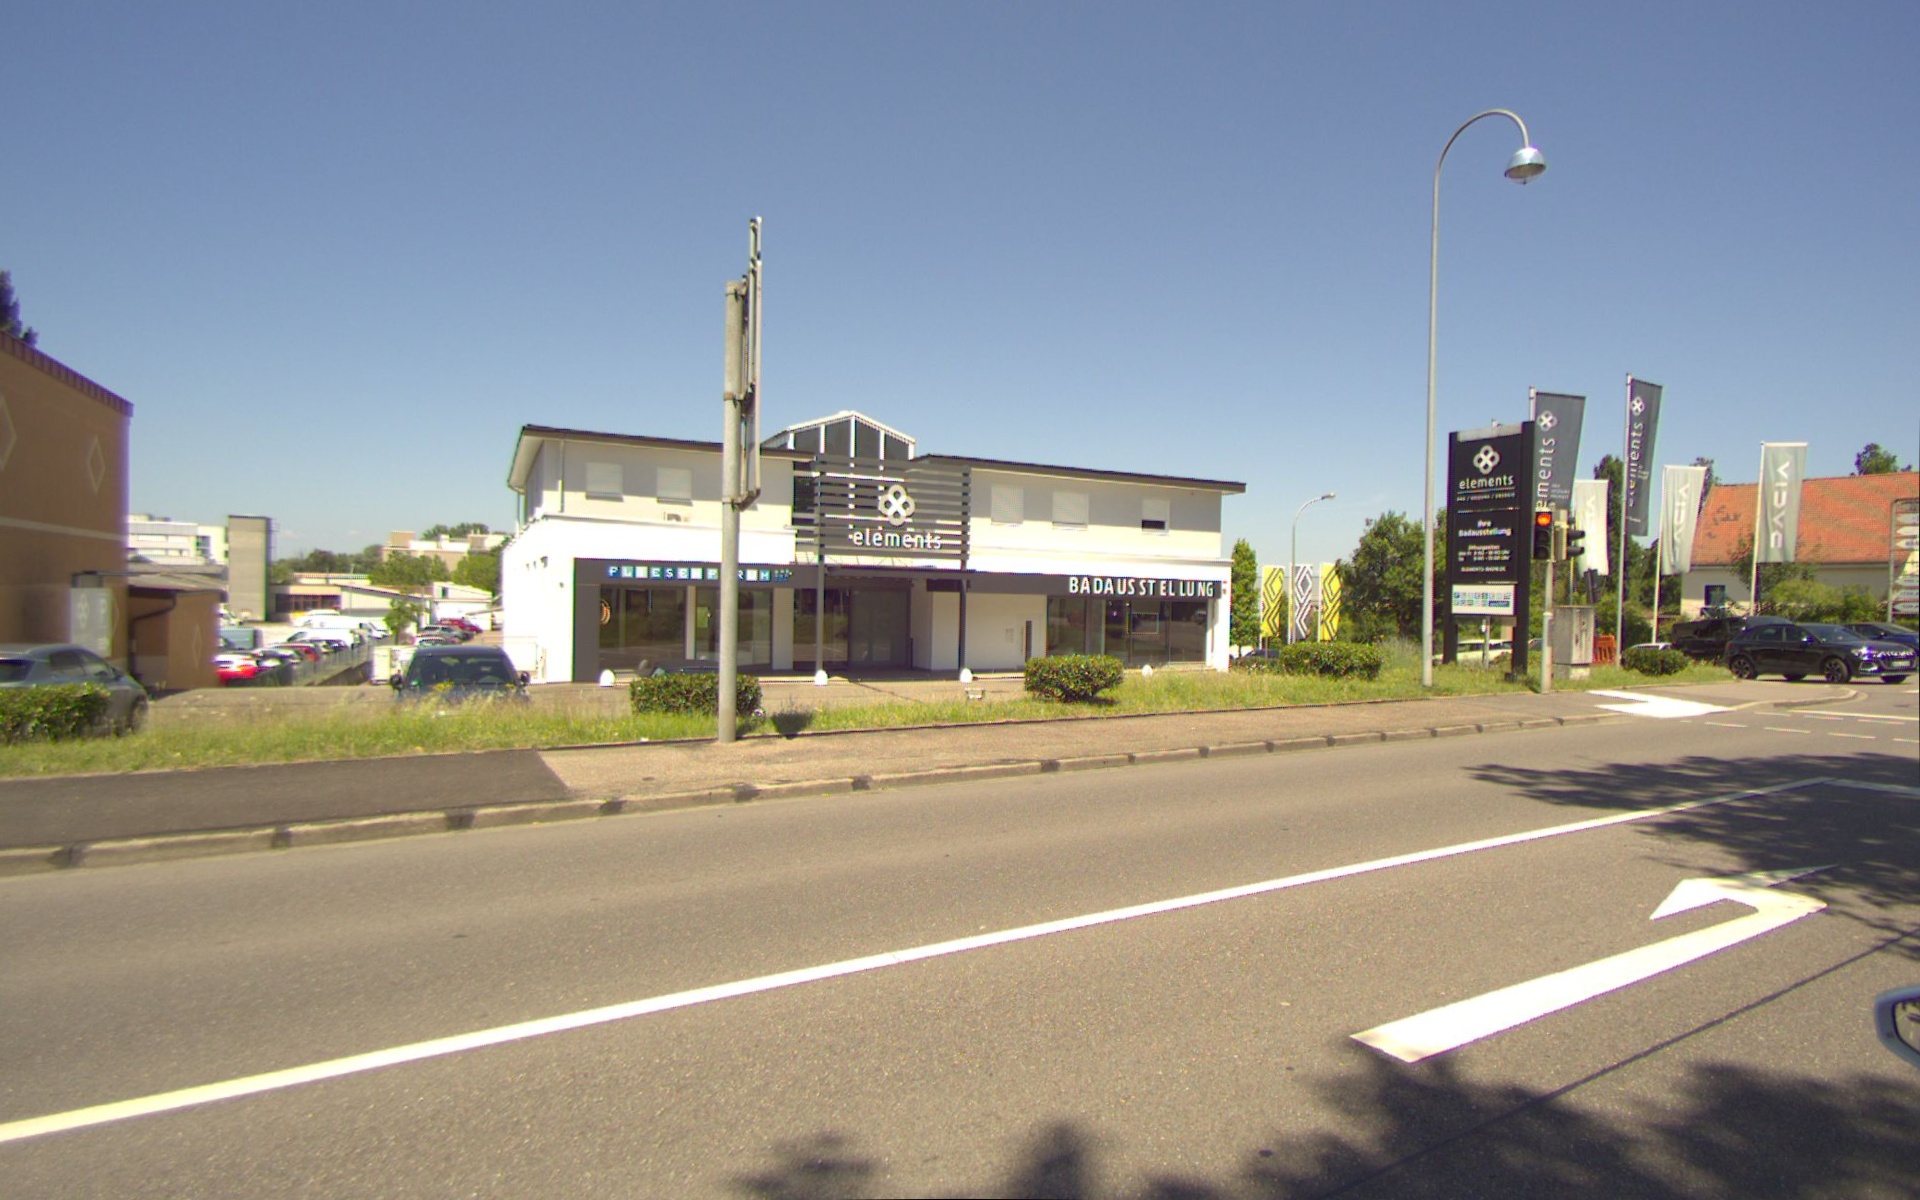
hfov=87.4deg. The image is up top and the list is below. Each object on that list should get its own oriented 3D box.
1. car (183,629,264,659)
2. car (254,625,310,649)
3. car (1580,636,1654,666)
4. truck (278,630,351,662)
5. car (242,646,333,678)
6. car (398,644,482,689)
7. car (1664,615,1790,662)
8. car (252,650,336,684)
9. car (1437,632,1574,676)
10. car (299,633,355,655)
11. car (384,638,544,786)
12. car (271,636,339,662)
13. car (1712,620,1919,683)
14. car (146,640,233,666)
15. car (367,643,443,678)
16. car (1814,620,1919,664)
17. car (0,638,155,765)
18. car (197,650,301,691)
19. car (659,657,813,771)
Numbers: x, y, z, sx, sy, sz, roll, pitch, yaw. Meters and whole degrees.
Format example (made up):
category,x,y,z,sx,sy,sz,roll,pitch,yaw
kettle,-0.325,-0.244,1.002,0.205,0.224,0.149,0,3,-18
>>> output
category,x,y,z,sx,sy,sz,roll,pitch,yaw
car,-47.238,2.823,64.558,3.952,1.839,1.984,1,-1,-30
car,-47.926,2.626,71.036,3.089,1.554,1.673,2,0,-30
car,29.967,2.308,45.804,3.210,1.242,1.736,1,0,-34
truck,-42.752,3.048,66.608,3.937,2.003,1.672,2,0,-30
car,-36.967,3.396,55.339,3.952,1.657,1.835,2,-1,-30
car,-25.839,3.284,50.040,1.838,1.965,3.790,1,0,9
car,28.656,1.412,37.597,1.585,1.638,3.467,1,-1,-36
car,-33.882,3.380,51.219,3.426,1.614,1.712,2,0,-30
car,21.028,2.031,38.873,1.982,1.507,4.264,1,-1,-37
car,-40.818,2.839,64.821,3.009,1.316,1.296,2,0,-30
car,-7.515,1.532,15.196,1.871,1.709,4.314,2,0,-28
car,-38.858,2.913,59.680,3.270,1.484,1.494,2,0,-30
car,22.830,1.343,26.836,1.893,1.546,4.301,1,-2,-9
car,-47.035,3.221,61.397,3.952,1.494,1.743,2,0,-30
car,-32.036,3.452,58.050,3.769,1.817,1.765,1,0,-30
car,32.311,1.447,35.127,1.585,1.446,3.467,1,-1,-36
car,-13.220,1.336,14.242,1.755,1.470,4.018,1,-1,-23
car,-33.423,3.302,47.357,3.772,1.750,1.739,2,0,-30
car,-3.711,1.744,16.272,1.756,1.442,3.327,1,0,-25
